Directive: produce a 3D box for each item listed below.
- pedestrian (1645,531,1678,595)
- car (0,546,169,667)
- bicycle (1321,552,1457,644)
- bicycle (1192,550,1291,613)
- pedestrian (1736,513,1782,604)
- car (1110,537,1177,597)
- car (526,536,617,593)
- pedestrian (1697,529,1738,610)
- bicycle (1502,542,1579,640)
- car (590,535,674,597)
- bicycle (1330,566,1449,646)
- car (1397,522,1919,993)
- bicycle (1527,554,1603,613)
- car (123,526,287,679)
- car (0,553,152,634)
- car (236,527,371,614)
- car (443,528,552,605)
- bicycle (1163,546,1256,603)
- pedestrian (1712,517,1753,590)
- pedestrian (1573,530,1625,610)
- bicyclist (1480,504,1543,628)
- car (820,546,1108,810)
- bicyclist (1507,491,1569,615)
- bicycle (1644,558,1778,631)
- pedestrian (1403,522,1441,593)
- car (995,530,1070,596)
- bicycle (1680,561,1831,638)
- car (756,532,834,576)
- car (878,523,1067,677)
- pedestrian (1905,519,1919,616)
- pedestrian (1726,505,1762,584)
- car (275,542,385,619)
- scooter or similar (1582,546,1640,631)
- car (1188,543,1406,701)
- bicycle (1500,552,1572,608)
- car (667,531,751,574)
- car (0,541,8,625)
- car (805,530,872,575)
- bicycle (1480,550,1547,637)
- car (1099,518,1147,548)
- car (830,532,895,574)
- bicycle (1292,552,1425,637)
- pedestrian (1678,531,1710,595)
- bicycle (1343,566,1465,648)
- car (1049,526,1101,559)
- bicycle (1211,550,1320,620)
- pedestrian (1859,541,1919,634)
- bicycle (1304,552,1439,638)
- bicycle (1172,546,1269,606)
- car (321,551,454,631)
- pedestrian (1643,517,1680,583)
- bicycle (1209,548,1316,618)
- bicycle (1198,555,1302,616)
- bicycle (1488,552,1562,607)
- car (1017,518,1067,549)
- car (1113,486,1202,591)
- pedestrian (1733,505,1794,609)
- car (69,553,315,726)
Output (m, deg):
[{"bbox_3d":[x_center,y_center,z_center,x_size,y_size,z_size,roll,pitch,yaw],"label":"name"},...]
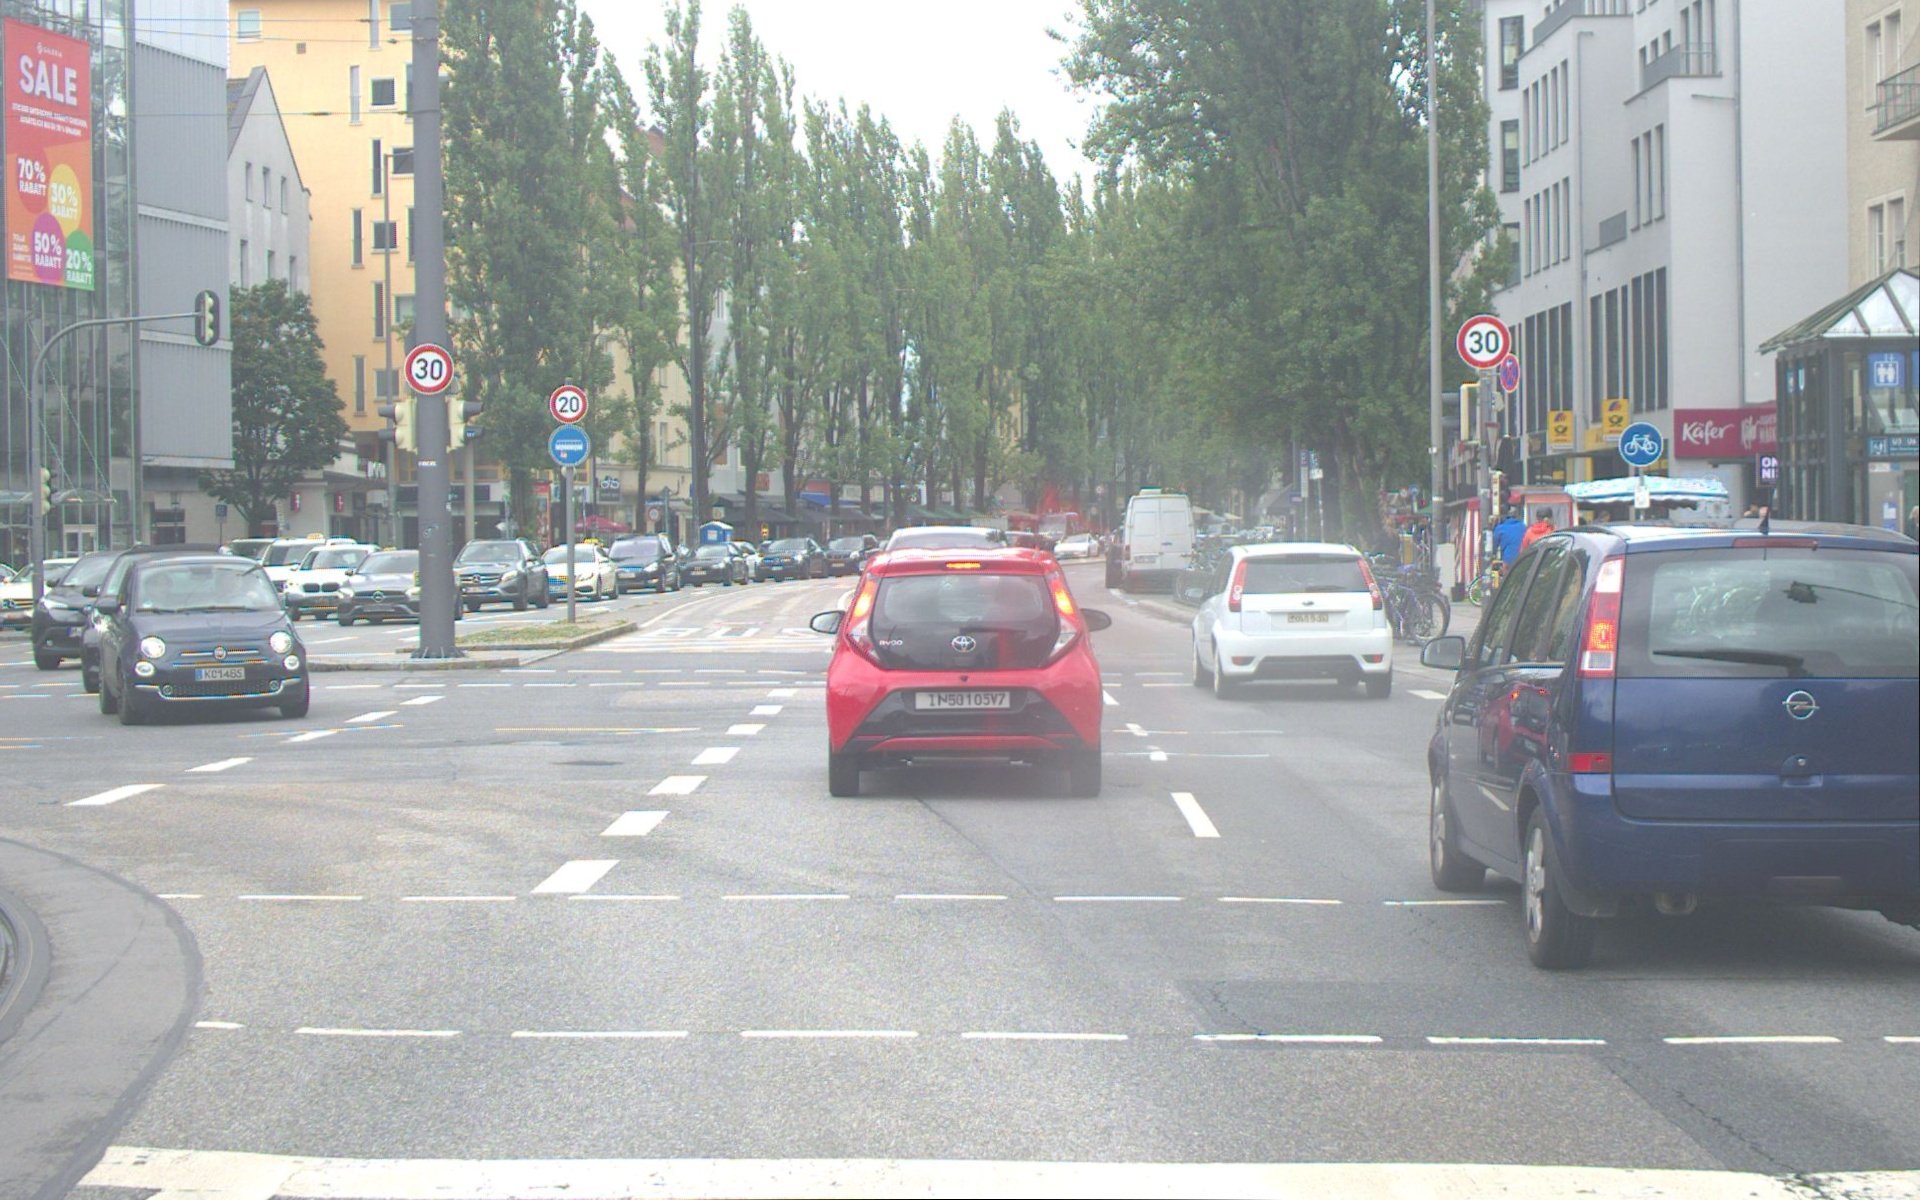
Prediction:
[{"bbox_3d":[15.491,-0.827,75.917,0.598,1.397,0.580,-1,1,0],"label":"pedestrian"},{"bbox_3d":[-11.821,0.049,45.823,1.664,1.503,4.282,-1,1,-2],"label":"car"},{"bbox_3d":[5.704,-0.036,45.791,1.803,1.194,0.558,0,2,43],"label":"bicycle"},{"bbox_3d":[5.167,-0.348,63.185,1.836,1.132,0.585,0,2,43],"label":"bicycle"},{"bbox_3d":[14.879,-0.775,64.031,0.601,1.664,0.684,0,1,35],"label":"pedestrian"},{"bbox_3d":[5.188,-0.948,97.583,1.703,1.657,3.556,0,1,0],"label":"car"},{"bbox_3d":[-10.005,-0.937,88.795,1.765,1.417,4.639,-1,1,0],"label":"car"},{"bbox_3d":[14.200,-0.578,64.455,0.580,1.500,0.615,0,1,31],"label":"pedestrian"},{"bbox_3d":[7.849,-0.141,46.530,0.614,1.260,2.520,-1,1,0],"label":"bicycle"},{"bbox_3d":[-9.471,-0.992,99.578,1.936,1.733,4.588,-1,1,1],"label":"car"},{"bbox_3d":[5.628,0.065,45.133,0.498,1.025,1.601,-2,2,-42],"label":"bicycle"},{"bbox_3d":[2.792,0.502,13.430,1.703,1.584,3.556,-1,1,0],"label":"car"},{"bbox_3d":[10.131,-0.273,57.569,1.181,0.960,0.369,-1,1,-2],"label":"bicycle"},{"bbox_3d":[-7.998,0.045,36.593,1.503,1.529,2.838,1,-1,-9],"label":"car"},{"bbox_3d":[-17.830,-0.149,67.948,1.994,1.503,4.633,0,1,9],"label":"car"},{"bbox_3d":[-16.634,-0.791,87.370,1.994,2.006,5.523,-1,2,4],"label":"car"},{"bbox_3d":[-10.506,-0.793,78.365,1.743,1.664,4.732,-1,1,1],"label":"car"},{"bbox_3d":[5.047,-0.519,69.602,1.836,1.132,0.585,0,1,36],"label":"bicycle"},{"bbox_3d":[17.240,-1.044,76.708,0.732,1.596,0.742,-1,1,0],"label":"pedestrian"},{"bbox_3d":[12.188,-0.573,65.579,0.808,1.517,0.800,-1,1,-1],"label":"pedestrian"},{"bbox_3d":[8.442,-0.534,52.619,0.762,1.863,1.133,-1,1,0],"label":"bicyclist"},{"bbox_3d":[0.039,0.418,21.117,1.605,1.456,3.130,2,1,1],"label":"car"},{"bbox_3d":[7.832,-0.645,46.591,0.614,1.652,1.251,-1,1,0],"label":"bicyclist"},{"bbox_3d":[10.434,-0.078,47.774,1.754,0.961,0.453,-1,1,1],"label":"bicycle"},{"bbox_3d":[11.170,-1.029,83.115,0.790,1.722,0.764,-1,1,0],"label":"pedestrian"},{"bbox_3d":[2.052,-1.063,98.045,1.993,1.831,4.000,-1,1,0],"label":"car"},{"bbox_3d":[10.404,-0.008,44.971,1.837,0.961,0.509,-1,1,-2],"label":"bicycle"},{"bbox_3d":[-5.935,-1.665,124.287,1.994,1.529,4.586,0,1,8],"label":"car"},{"bbox_3d":[0.108,-0.045,38.464,1.993,1.612,4.000,-1,1,-1],"label":"car"},{"bbox_3d":[16.757,-0.566,59.113,0.750,1.645,0.758,-2,1,-2],"label":"pedestrian"},{"bbox_3d":[14.829,-1.055,65.032,0.507,1.479,0.464,0,1,35],"label":"pedestrian"},{"bbox_3d":[-13.486,-0.432,73.759,1.698,1.590,4.000,-1,1,-1],"label":"car"},{"bbox_3d":[9.280,-0.171,48.997,0.364,1.172,1.345,0,1,30],"label":"scooter or similar"},{"bbox_3d":[3.198,0.172,33.200,1.699,1.421,3.497,-1,1,-1],"label":"car"},{"bbox_3d":[10.153,-0.351,60.588,1.224,0.960,0.369,-2,1,-22],"label":"bicycle"},{"bbox_3d":[-8.185,-1.531,112.346,1.845,1.378,4.599,0,0,8],"label":"car"},{"bbox_3d":[-18.455,-0.251,60.917,1.901,1.537,4.393,-1,1,0],"label":"car"},{"bbox_3d":[-4.726,-1.862,134.077,1.994,1.686,4.920,0,1,5],"label":"car"},{"bbox_3d":[8.455,-0.110,52.618,0.614,1.260,2.520,-1,1,0],"label":"bicycle"},{"bbox_3d":[9.296,-3.826,195.849,1.994,1.686,4.411,-1,1,12],"label":"car"},{"bbox_3d":[-4.014,-1.934,141.909,1.994,1.686,4.920,0,1,6],"label":"car"},{"bbox_3d":[5.543,-0.084,47.867,1.803,1.154,0.547,0,2,38],"label":"bicycle"},{"bbox_3d":[16.205,-0.814,75.887,0.574,1.397,0.580,-1,1,0],"label":"pedestrian"},{"bbox_3d":[5.710,0.085,44.277,0.498,1.025,1.601,-2,2,-42],"label":"bicycle"},{"bbox_3d":[6.162,-3.088,183.242,1.994,1.686,4.411,-1,1,12],"label":"car"},{"bbox_3d":[5.171,-0.265,58.264,1.836,1.164,0.585,0,2,43],"label":"bicycle"},{"bbox_3d":[15.587,-0.217,57.635,0.777,1.512,0.758,-2,1,-2],"label":"pedestrian"},{"bbox_3d":[5.638,-0.069,47.184,1.803,1.154,0.547,0,2,38],"label":"bicycle"},{"bbox_3d":[5.059,-0.467,66.873,1.836,1.132,0.585,0,1,36],"label":"bicycle"},{"bbox_3d":[-10.969,-0.203,66.147,1.993,1.407,4.168,2,1,-2],"label":"car"},{"bbox_3d":[16.801,-1.195,82.326,0.713,1.553,0.676,-1,1,0],"label":"pedestrian"},{"bbox_3d":[5.194,-0.297,59.045,1.836,1.193,0.585,0,2,43],"label":"bicycle"},{"bbox_3d":[5.099,-0.254,60.455,1.836,1.048,0.585,0,2,43],"label":"bicycle"},{"bbox_3d":[10.173,-0.370,61.876,1.261,0.960,0.369,-1,1,3],"label":"bicycle"},{"bbox_3d":[4.623,-3.746,193.089,1.994,1.686,4.411,-1,1,12],"label":"car"},{"bbox_3d":[5.215,-1.625,91.357,2.107,2.709,4.804,-1,1,1],"label":"car"},{"bbox_3d":[13.694,-0.736,58.631,0.813,1.721,0.758,-2,1,0],"label":"pedestrian"},{"bbox_3d":[-7.053,0.313,31.362,1.545,1.440,3.540,-2,1,-23],"label":"car"}]
